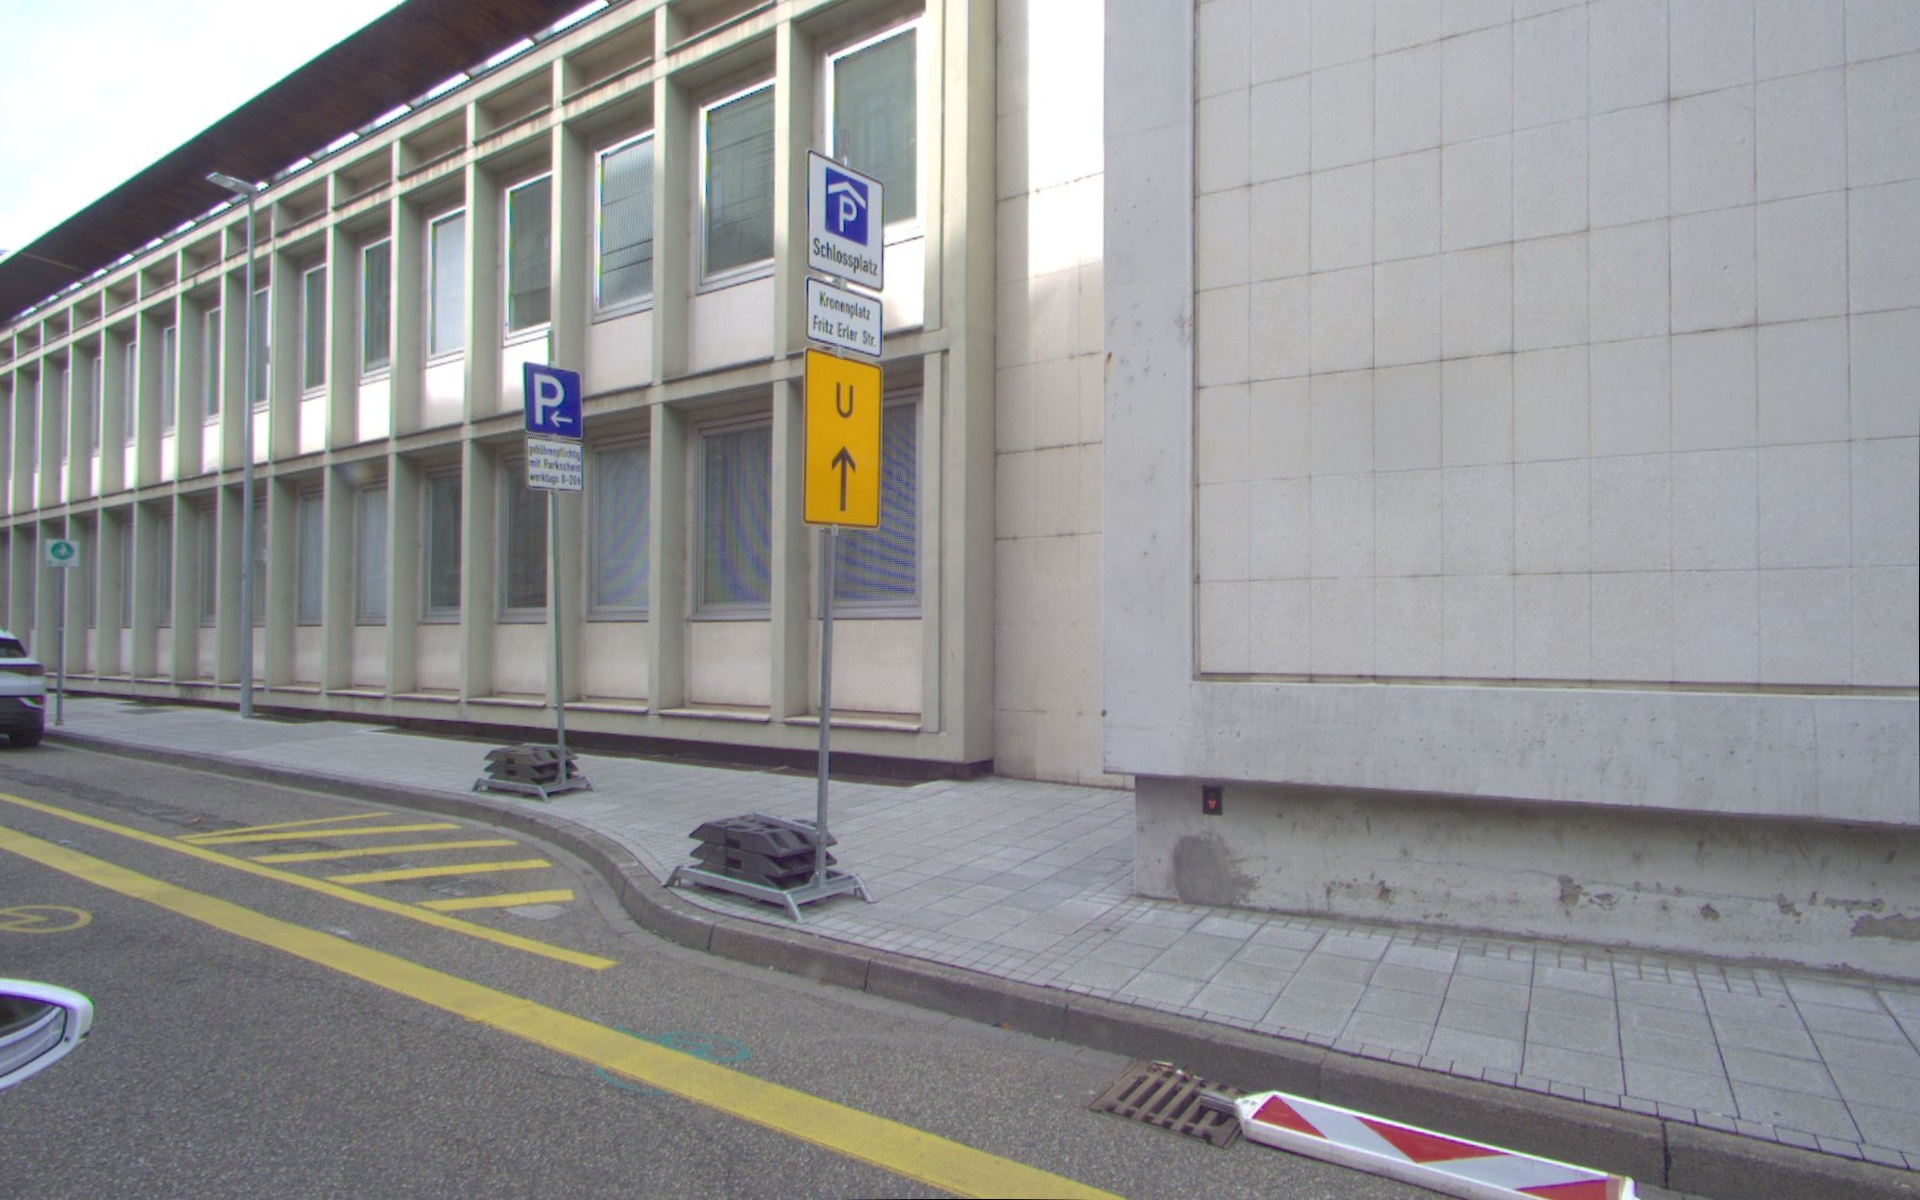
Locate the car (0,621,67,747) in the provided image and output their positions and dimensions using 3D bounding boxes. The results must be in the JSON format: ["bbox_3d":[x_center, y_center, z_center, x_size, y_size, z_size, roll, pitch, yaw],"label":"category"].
[{"bbox_3d":[-14.374,1.102,13.953,4.452,1.624,1.857,-1,-5,35],"label":"car"}]
